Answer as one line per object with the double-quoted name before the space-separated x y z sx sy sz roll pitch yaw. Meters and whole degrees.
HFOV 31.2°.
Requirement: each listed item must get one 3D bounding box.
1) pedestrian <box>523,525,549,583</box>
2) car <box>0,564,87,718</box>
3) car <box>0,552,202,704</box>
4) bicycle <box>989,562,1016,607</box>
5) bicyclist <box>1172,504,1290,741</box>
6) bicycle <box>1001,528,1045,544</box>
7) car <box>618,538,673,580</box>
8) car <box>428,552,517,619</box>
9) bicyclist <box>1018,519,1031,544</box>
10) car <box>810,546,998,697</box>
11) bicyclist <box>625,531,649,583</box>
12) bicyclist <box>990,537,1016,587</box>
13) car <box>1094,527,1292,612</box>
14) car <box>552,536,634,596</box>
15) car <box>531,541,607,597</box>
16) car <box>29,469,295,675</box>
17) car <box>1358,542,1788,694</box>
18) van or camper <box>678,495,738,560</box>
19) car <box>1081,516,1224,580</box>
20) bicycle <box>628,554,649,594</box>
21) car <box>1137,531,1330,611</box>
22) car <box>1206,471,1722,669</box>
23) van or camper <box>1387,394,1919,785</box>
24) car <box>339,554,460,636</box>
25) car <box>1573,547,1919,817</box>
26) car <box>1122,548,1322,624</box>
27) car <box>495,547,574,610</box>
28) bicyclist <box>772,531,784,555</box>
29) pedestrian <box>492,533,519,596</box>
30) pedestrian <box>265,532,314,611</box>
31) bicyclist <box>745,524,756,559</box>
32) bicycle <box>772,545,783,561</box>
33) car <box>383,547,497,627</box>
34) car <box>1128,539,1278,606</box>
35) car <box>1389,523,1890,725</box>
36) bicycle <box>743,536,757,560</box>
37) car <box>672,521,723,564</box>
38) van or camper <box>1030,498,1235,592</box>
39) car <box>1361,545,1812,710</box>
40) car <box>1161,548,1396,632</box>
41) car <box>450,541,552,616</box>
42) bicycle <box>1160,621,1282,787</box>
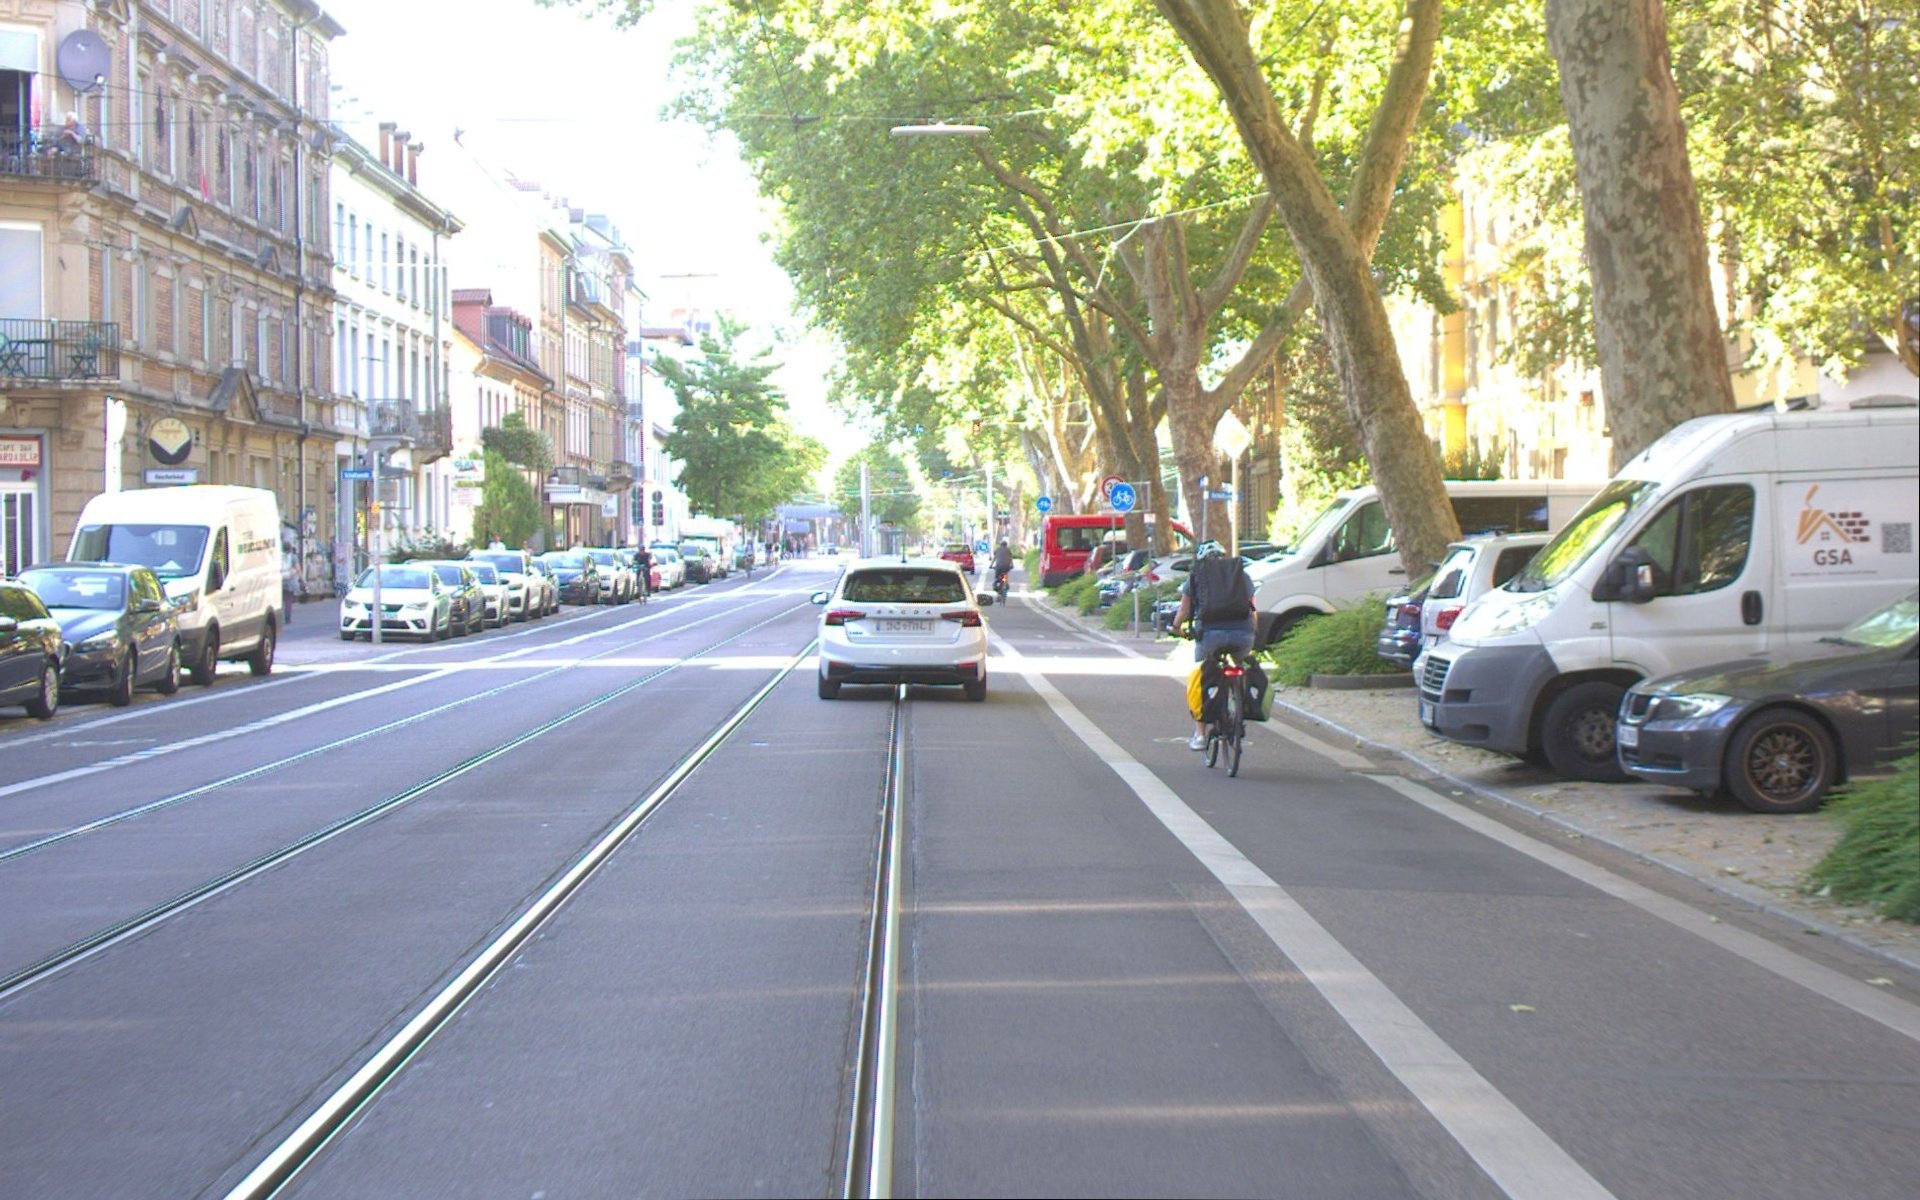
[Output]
"pedestrian" -13.469 -1.468 109.307 0.759 1.815 0.830 0 1 -3
"car" -10.069 0.399 33.820 1.718 1.451 4.572 -1 1 1
"car" -10.002 0.279 39.539 1.718 1.626 4.347 -1 1 -2
"bicycle" 1.142 -0.429 92.878 0.680 1.151 2.964 1 1 0
"bicyclist" 1.841 0.139 23.496 0.614 1.547 0.936 4 1 0
"bicycle" 4.044 -4.085 220.910 2.771 0.996 0.592 1 1 15
"car" -11.711 -1.559 128.164 1.827 1.497 4.689 1 1 -2
"car" -10.791 -0.346 76.262 1.699 1.415 4.001 1 1 -5
"bicyclist" 4.143 -4.423 220.883 0.737 1.583 0.586 -1 1 12
"car" -0.635 0.183 35.743 1.842 1.475 3.839 0 1 -2
"bicyclist" -9.287 -1.237 98.911 0.582 1.477 0.807 -1 1 -1
"bicyclist" 1.161 -1.031 92.797 0.679 1.334 0.525 1 1 0
"car" 5.303 -0.705 78.575 4.261 1.713 1.849 -3 1 -2
"car" -10.843 -1.027 101.735 1.856 1.698 4.763 -1 1 0
"car" -10.988 -0.893 96.746 1.554 1.510 3.924 -1 1 2
"car" -10.378 -0.393 45.177 2.065 2.527 5.667 -1 1 1
"car" 6.265 0.164 35.435 4.053 1.455 1.796 -1 1 -2
"van or camper" -12.332 -3.550 168.543 2.216 3.129 7.113 0 1 1
"car" 5.444 -1.464 97.669 3.818 1.643 1.767 -2 0 -3
"bicycle" -9.260 -0.747 99.011 0.421 1.146 2.232 -2 1 -1
"car" 5.981 -0.642 75.544 4.027 1.638 1.681 -1 1 -2
"car" 6.061 -0.389 41.870 5.991 2.274 2.006 -1 2 1
"van or camper" 6.084 -0.110 23.382 6.032 2.482 2.107 -1 1 -1
"car" -10.644 -0.119 65.498 1.740 1.486 4.045 1 1 -2
"car" 6.089 0.479 20.831 4.388 1.546 1.783 1 1 -1
"car" 5.514 -0.300 72.729 4.027 1.475 1.681 -1 1 -2
"car" -10.704 -0.552 86.661 1.662 1.515 4.065 1 1 -3
"bicyclist" -11.117 -3.477 209.704 0.638 1.498 1.070 -2 1 1
"pedestrian" -14.459 -1.126 109.319 0.759 2.007 0.830 0 1 -2
"pedestrian" -14.145 -0.608 72.519 0.663 1.659 0.767 1 1 31
"bicyclist" -9.740 -2.716 159.797 0.473 1.630 0.800 -1 1 0
"bicycle" -11.112 -2.870 209.661 0.499 0.940 1.921 -2 1 1
"car" -10.692 -0.292 70.970 1.740 1.557 4.787 1 1 -2
"car" 6.025 -0.687 85.500 3.595 1.594 1.541 -1 0 0
"car" 5.892 0.194 30.099 3.954 1.650 1.796 -1 0 -3
"bicycle" -9.747 -2.424 159.643 0.481 1.082 1.846 -1 1 1
"car" -11.441 -2.516 150.232 1.964 1.775 4.938 2 1 -2
"van or camper" 5.098 -1.660 102.142 5.814 2.510 2.288 -2 2 -2
"car" 5.934 0.239 32.871 3.954 1.473 1.796 -1 1 -1
"car" 5.856 -0.203 63.565 4.096 1.486 1.831 -1 1 -3
"car" -10.833 -0.536 81.376 1.786 1.717 4.719 1 1 0
"bicycle" 1.791 0.692 23.888 0.595 1.001 2.511 2 1 0
